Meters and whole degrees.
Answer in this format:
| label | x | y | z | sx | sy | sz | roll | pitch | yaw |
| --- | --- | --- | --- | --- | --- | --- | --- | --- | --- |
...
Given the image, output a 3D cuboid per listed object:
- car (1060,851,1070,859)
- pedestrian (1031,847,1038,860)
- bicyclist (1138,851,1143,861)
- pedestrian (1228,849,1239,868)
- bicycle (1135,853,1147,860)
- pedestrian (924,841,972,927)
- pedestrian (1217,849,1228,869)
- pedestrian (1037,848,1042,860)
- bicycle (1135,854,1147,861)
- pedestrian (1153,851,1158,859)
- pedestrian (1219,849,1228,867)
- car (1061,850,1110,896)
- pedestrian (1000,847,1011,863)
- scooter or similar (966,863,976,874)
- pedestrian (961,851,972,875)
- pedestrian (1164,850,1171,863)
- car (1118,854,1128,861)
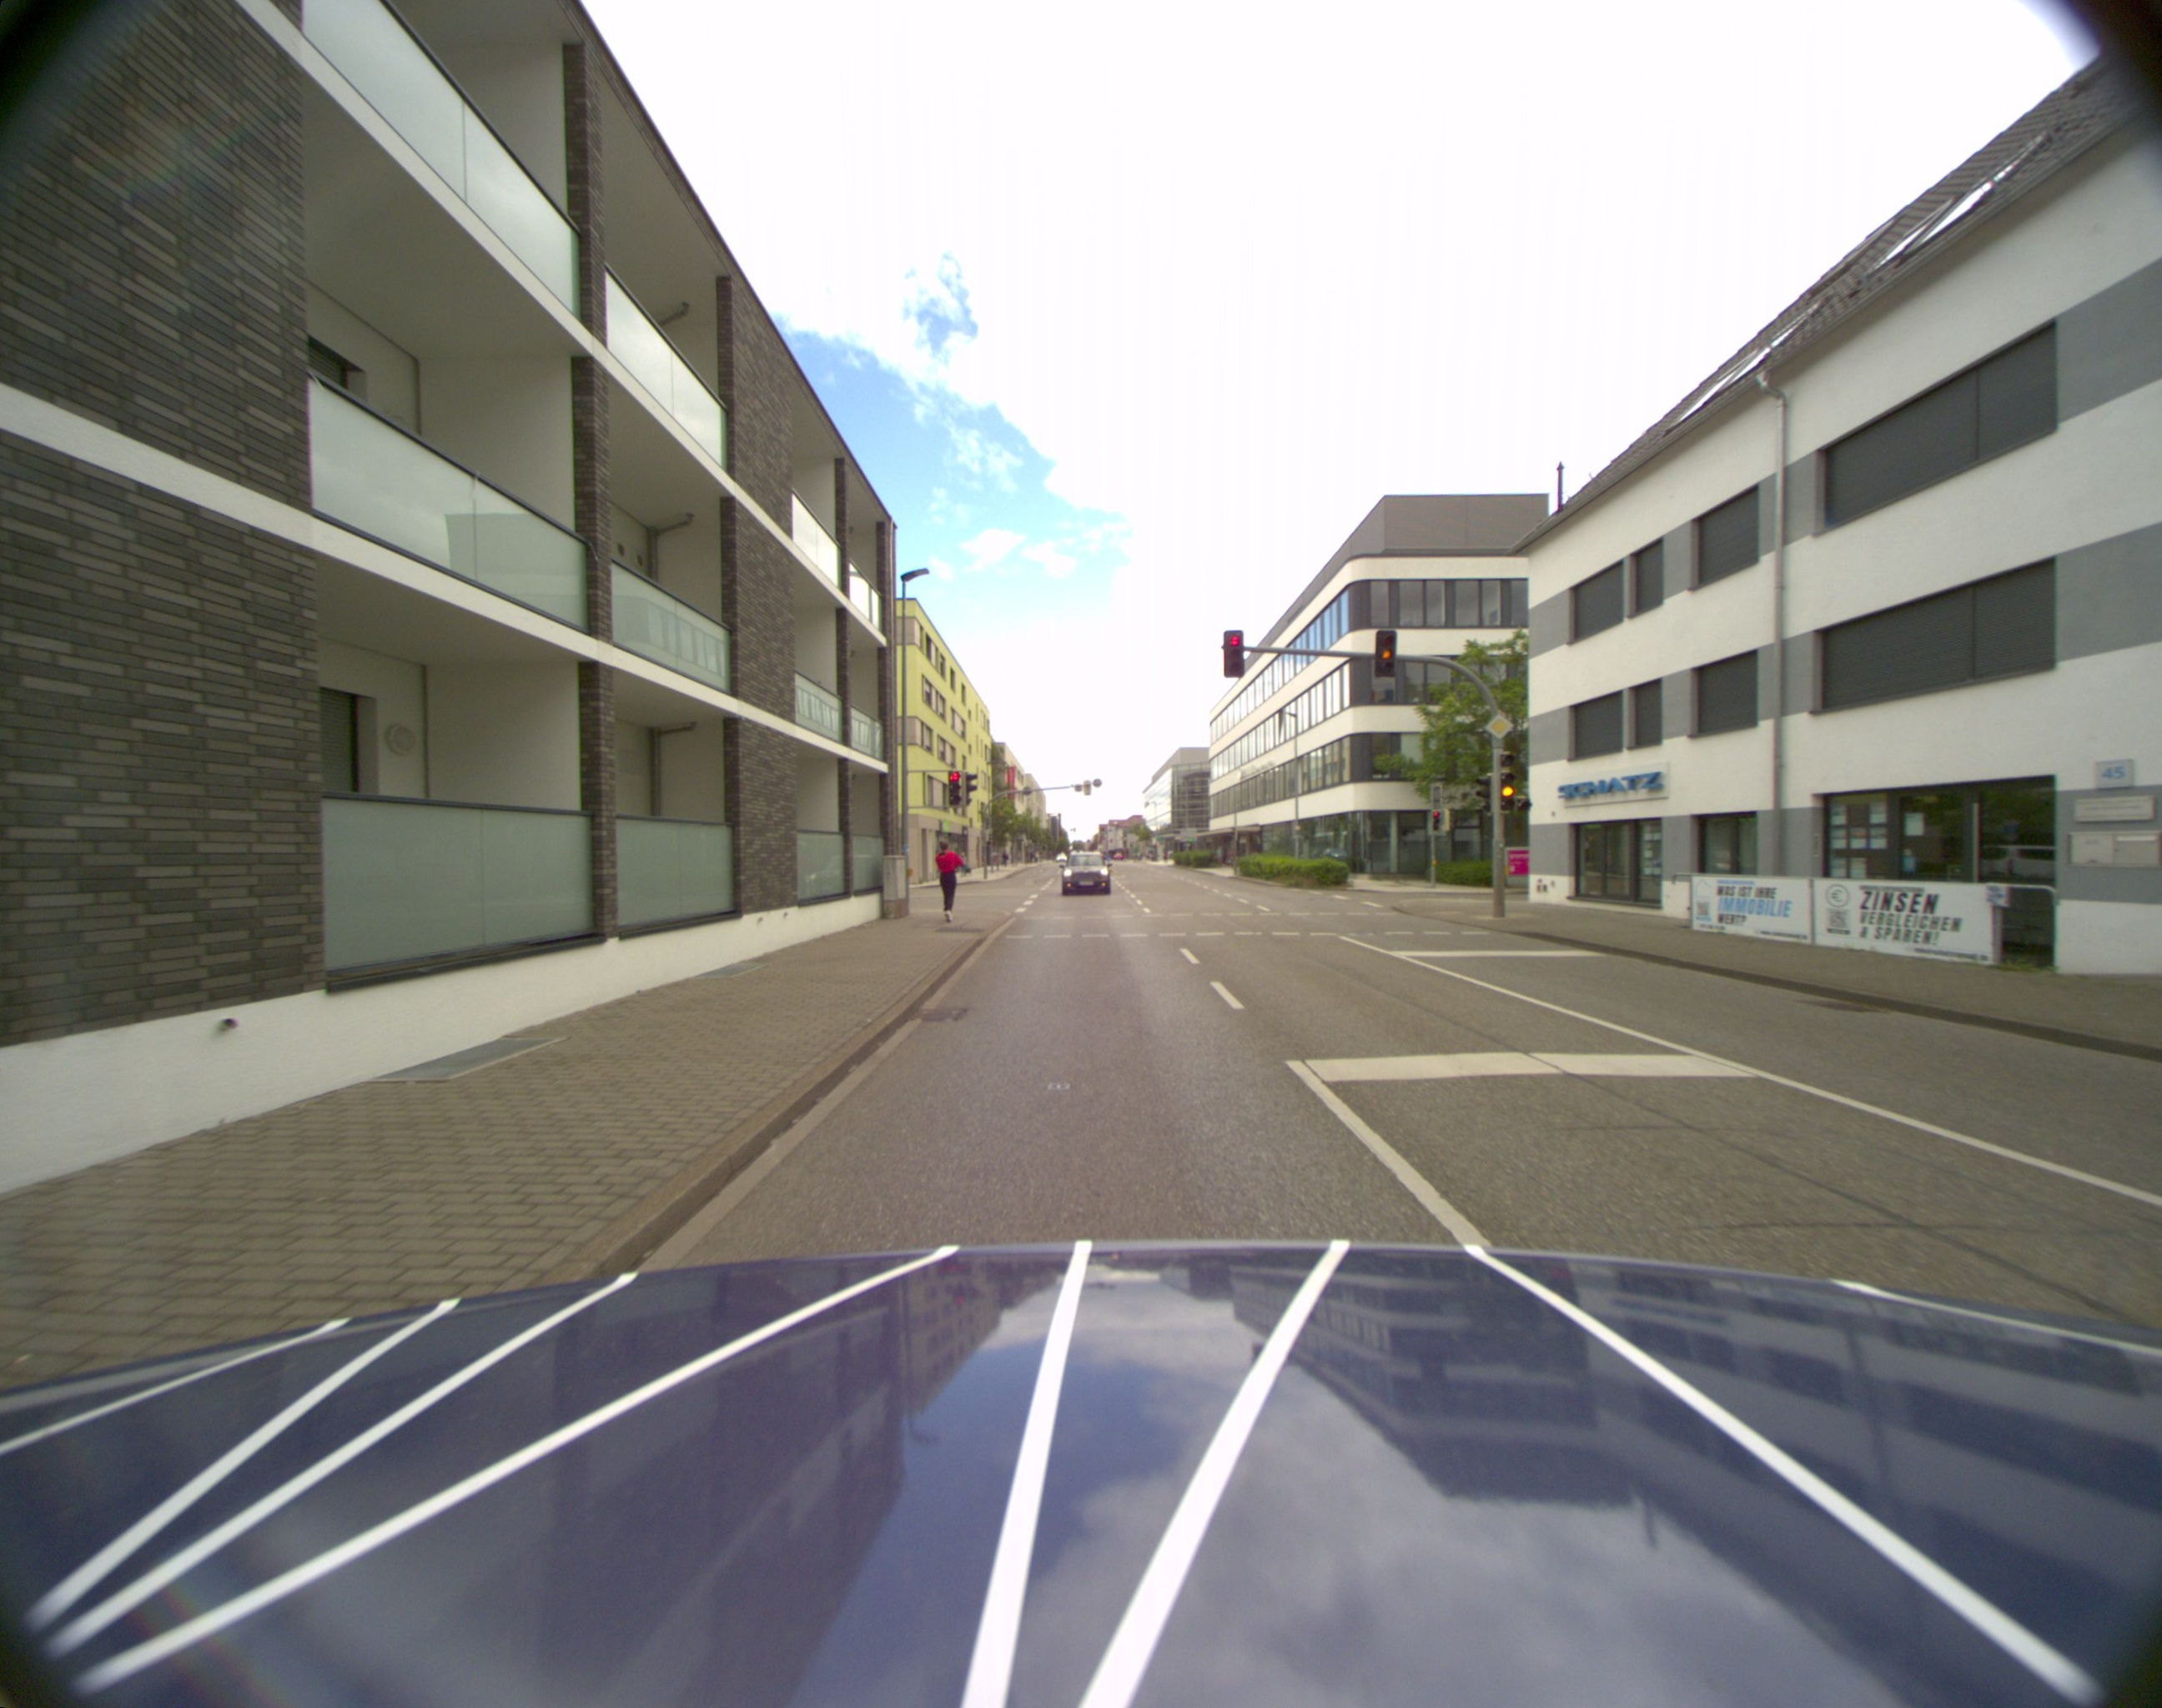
| label | x | y | z | sx | sy | sz | roll | pitch | yaw |
| --- | --- | --- | --- | --- | --- | --- | --- | --- | --- |
| car | -3.017 | 0.210 | 144.015 | 1.787 | 1.417 | 4.514 | -2 | 0 | -1 |
| pedestrian | -6.223 | -0.085 | 101.554 | 0.722 | 1.674 | 0.733 | 0 | 1 | 5 |
| bicyclist | 10.509 | 0.370 | 133.674 | 0.783 | 1.639 | 0.639 | -3 | 1 | 15 |
| pedestrian | 12.860 | 0.366 | 64.091 | 0.732 | 1.604 | 0.931 | -2 | 1 | 2 |
| bicycle | 10.743 | 0.505 | 136.499 | 2.025 | 1.199 | 0.749 | -3 | 1 | 44 |
| pedestrian | -2.856 | 0.625 | 16.351 | 0.809 | 1.776 | 0.861 | 2 | 1 | 1 |
| pedestrian | 12.064 | 0.397 | 64.708 | 0.732 | 1.664 | 0.931 | -2 | 1 | 2 |
| pedestrian | -5.728 | 0.021 | 105.656 | 0.580 | 1.581 | 0.733 | 0 | 1 | 5 |
| bicycle | 10.490 | 0.634 | 133.686 | 2.003 | 1.124 | 0.639 | -3 | 1 | 15 |
| pedestrian | 11.076 | 0.146 | 113.420 | 0.686 | 1.312 | 0.576 | 1 | 1 | -1 |
| pedestrian | 13.377 | 0.347 | 71.310 | 0.616 | 1.700 | 0.505 | -1 | 1 | -30 |
| car | 0.238 | 0.656 | 29.054 | 1.691 | 1.550 | 4.745 | -2 | 1 | 2 |
| pedestrian | -7.378 | 0.102 | 74.036 | 0.949 | 1.574 | 1.015 | 0 | 1 | -1 |
| scooter or similar | -7.490 | 0.987 | 51.824 | 0.593 | 0.669 | 0.824 | 1 | 0 | -1 |
| pedestrian | -7.698 | 0.608 | 51.090 | 0.697 | 1.584 | 0.603 | 1 | 1 | -1 |
| pedestrian | 11.121 | 0.301 | 98.153 | 0.832 | 1.558 | 0.813 | -2 | 1 | 5 |
| car | 9.452 | 0.713 | 171.772 | 1.901 | 1.407 | 4.470 | -2 | 0 | 1 |
